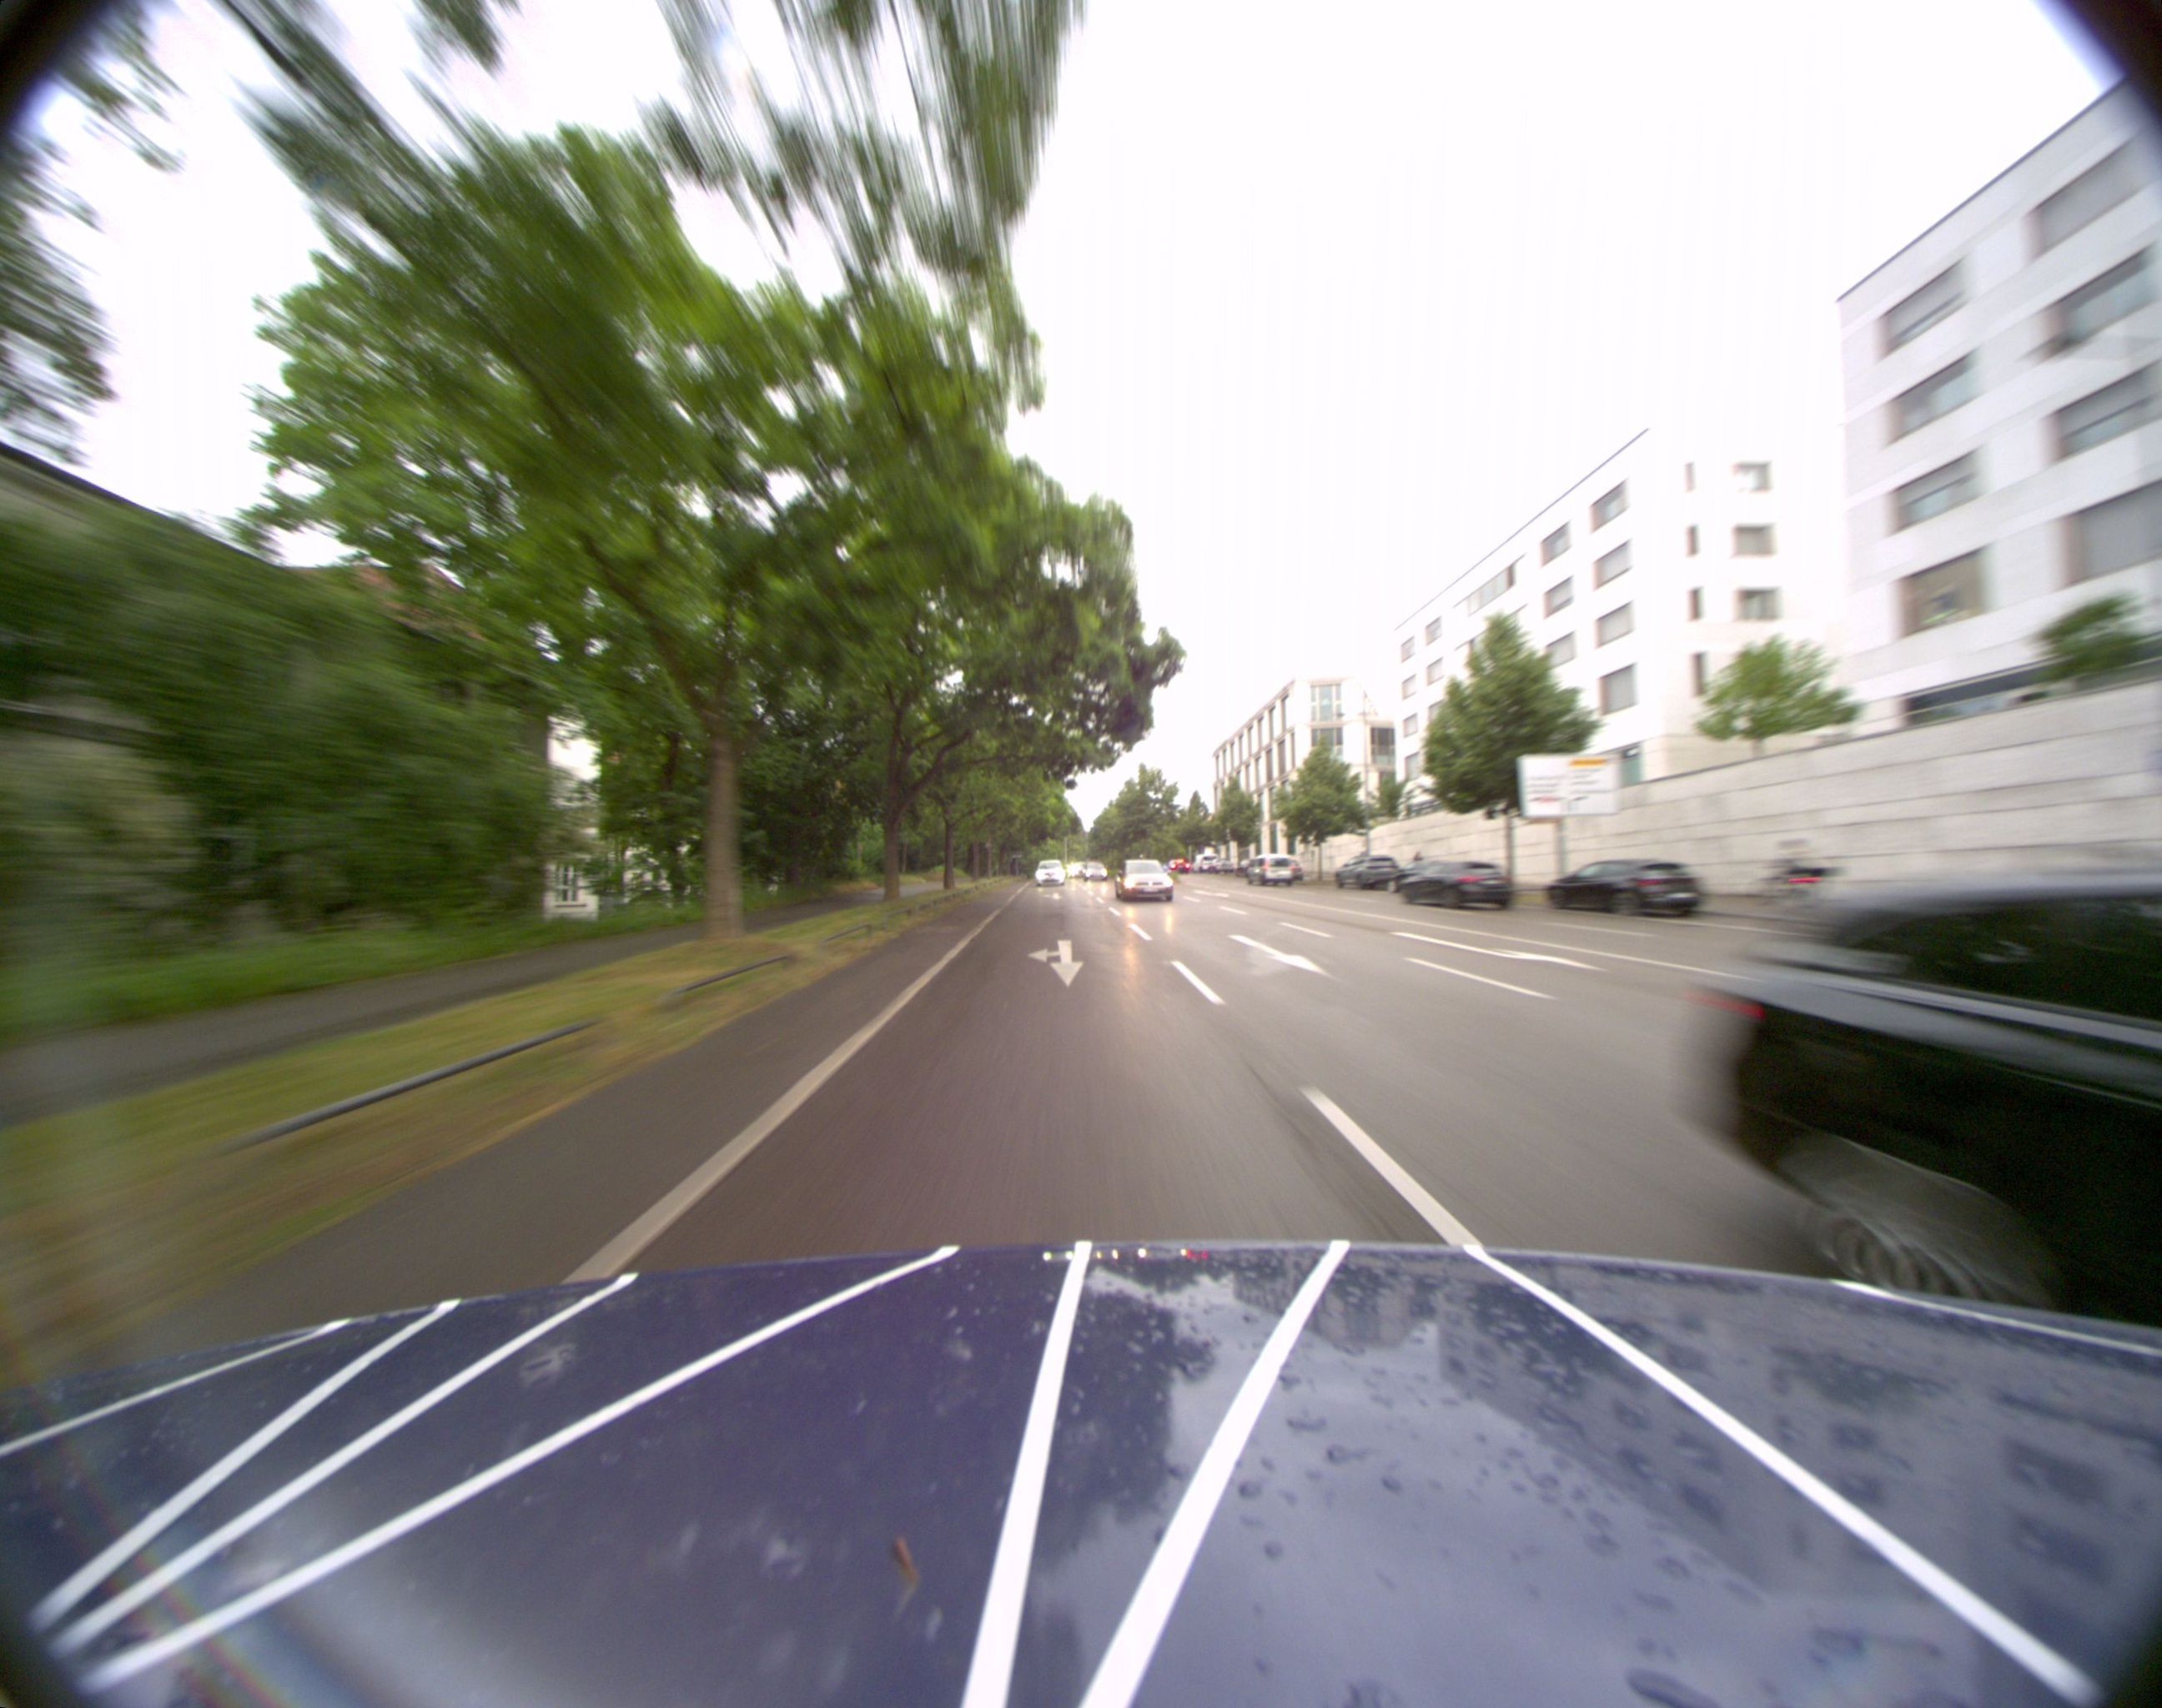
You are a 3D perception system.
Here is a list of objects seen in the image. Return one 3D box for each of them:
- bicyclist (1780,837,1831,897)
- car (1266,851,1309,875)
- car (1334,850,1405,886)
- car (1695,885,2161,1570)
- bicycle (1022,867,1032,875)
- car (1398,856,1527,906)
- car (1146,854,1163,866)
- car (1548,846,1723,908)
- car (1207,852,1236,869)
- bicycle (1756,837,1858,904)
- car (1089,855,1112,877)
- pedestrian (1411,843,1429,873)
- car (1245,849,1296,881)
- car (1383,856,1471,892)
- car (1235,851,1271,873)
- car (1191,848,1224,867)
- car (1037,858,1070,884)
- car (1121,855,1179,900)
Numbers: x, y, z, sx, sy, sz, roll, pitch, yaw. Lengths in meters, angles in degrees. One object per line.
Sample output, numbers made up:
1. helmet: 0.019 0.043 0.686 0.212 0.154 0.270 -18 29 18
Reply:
1. bicyclist: 18.466 0.322 19.379 0.578 1.509 0.769 -1 1 -2
2. car: 13.808 0.587 50.996 1.699 1.436 3.859 -3 0 -1
3. car: 14.052 0.640 37.257 1.708 1.611 4.360 -1 1 -2
4. car: 3.282 0.840 0.645 1.804 1.422 4.519 -1 0 -1
5. bicycle: -8.316 2.632 116.405 1.490 1.124 0.556 2 -1 -9
6. car: 11.705 0.768 23.662 1.775 1.373 4.189 -1 0 -2
7. car: 9.207 0.777 95.559 1.646 1.402 3.997 -1 -2 -2
8. car: 14.577 0.540 20.286 1.683 1.418 3.964 -2 1 -1
9. car: 12.852 0.594 69.619 1.700 1.376 3.697 -3 0 -3
10. bicycle: 18.481 0.395 19.409 0.744 1.647 1.880 0 1 -2
11. car: 1.504 0.955 57.491 1.670 1.520 3.659 -3 -2 2
12. pedestrian: 19.941 0.226 44.732 0.720 1.764 0.691 -2 0 -3
13. car: 10.972 0.604 44.286 1.715 1.736 4.336 0 0 -3
14. car: 14.329 0.788 31.704 1.699 1.352 4.162 -1 0 -1
15. car: 13.273 0.565 58.890 1.699 1.572 4.016 -2 1 -2
16. car: 12.788 0.369 77.013 2.128 1.805 5.259 -2 -1 -4
17. car: -1.743 1.075 46.540 1.646 1.511 3.578 -2 -2 -7
18. car: 2.510 0.792 27.762 1.904 1.431 4.001 -3 0 5
